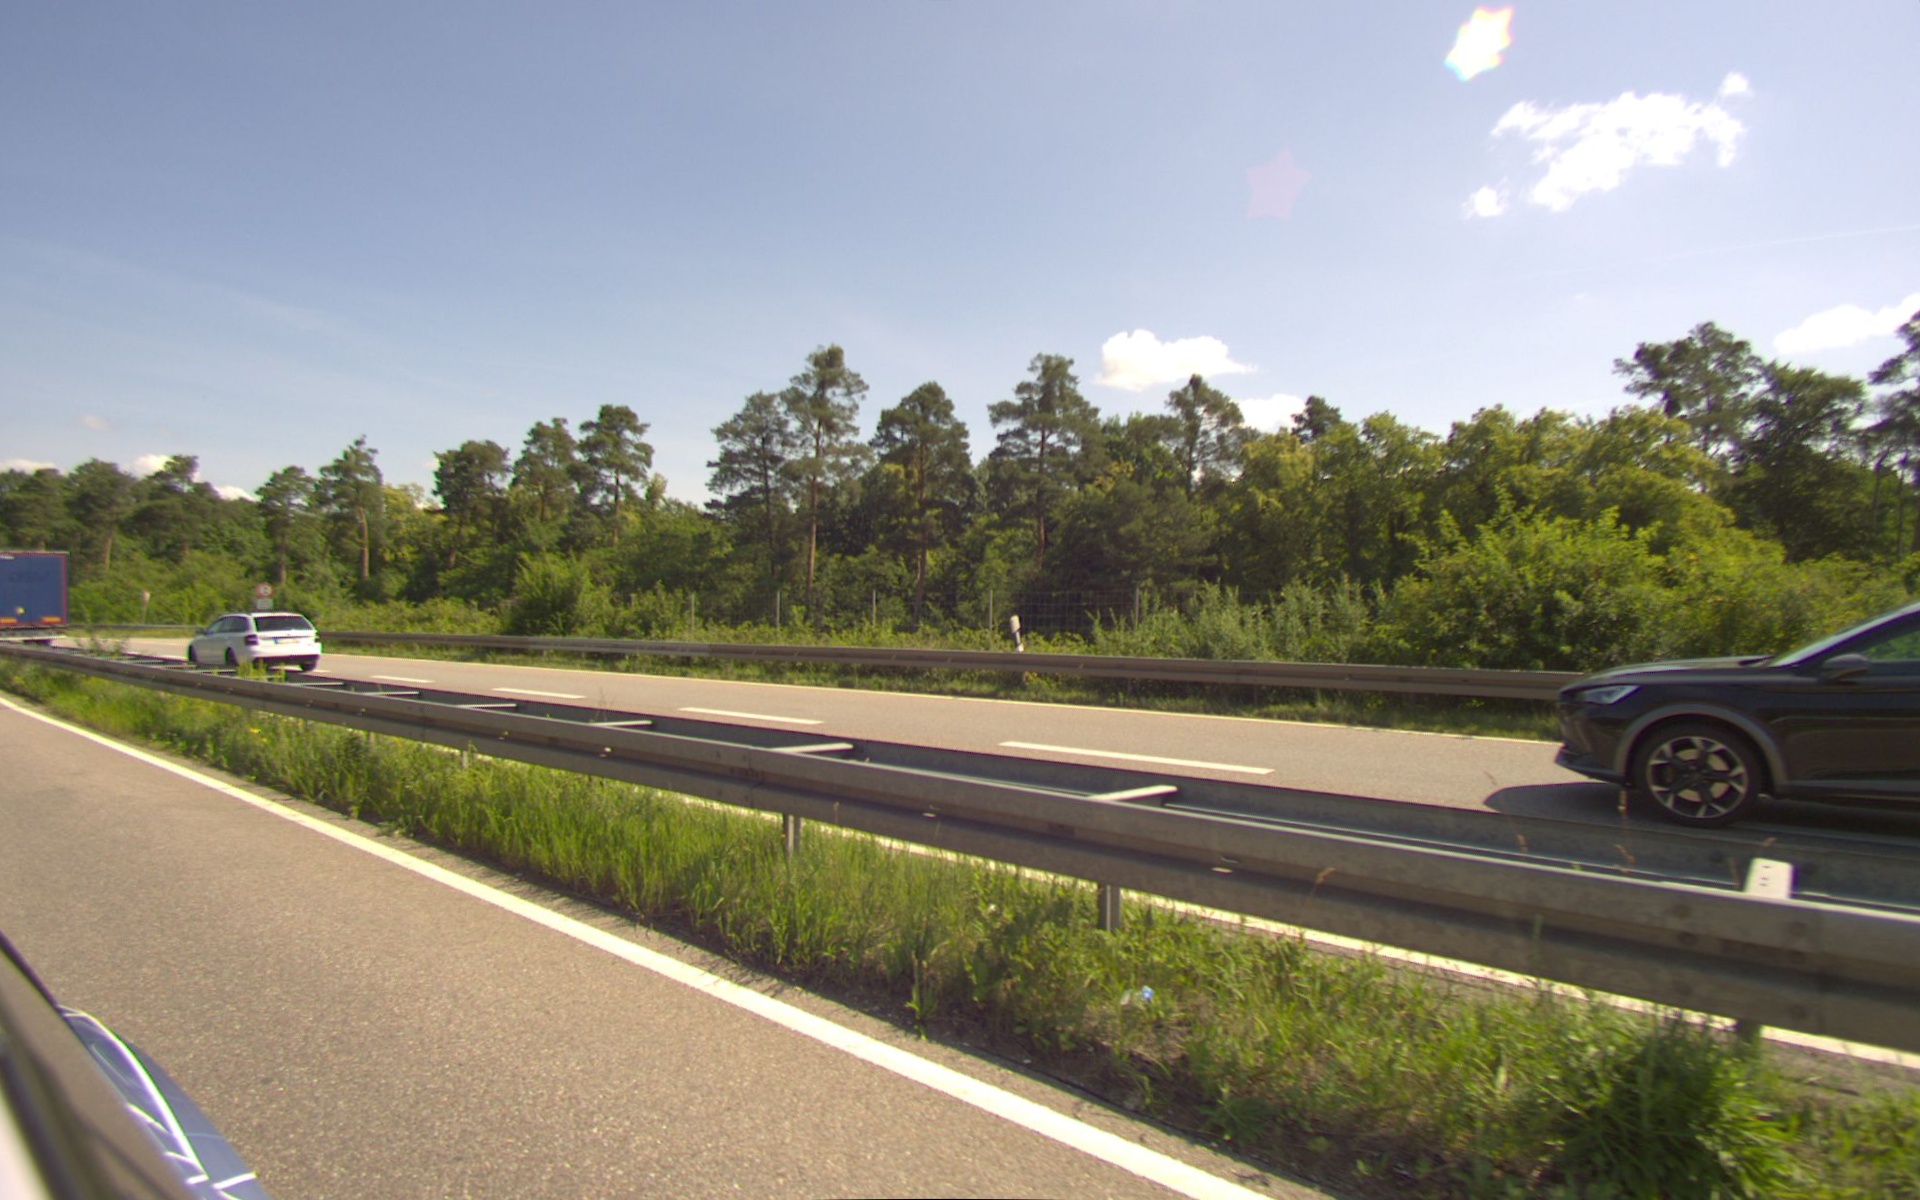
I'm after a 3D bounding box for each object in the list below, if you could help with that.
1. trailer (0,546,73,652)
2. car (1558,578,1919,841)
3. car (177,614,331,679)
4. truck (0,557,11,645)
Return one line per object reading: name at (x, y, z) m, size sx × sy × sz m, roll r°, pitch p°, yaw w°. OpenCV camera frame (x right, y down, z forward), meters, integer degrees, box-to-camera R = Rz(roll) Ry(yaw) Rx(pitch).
trailer at (-43.510, 0.023, 45.412) m, size 14.558 × 4.204 × 2.720 m, roll -1°, pitch 0°, yaw 37°
car at (6.425, 0.615, 6.169) m, size 4.570 × 1.512 × 1.738 m, roll -1°, pitch 0°, yaw 40°
car at (-17.390, 1.084, 24.838) m, size 4.598 × 1.455 × 1.777 m, roll -1°, pitch -1°, yaw 37°
truck at (-49.002, 0.089, 49.592) m, size 5.588 × 4.219 × 2.742 m, roll -1°, pitch 0°, yaw 37°
